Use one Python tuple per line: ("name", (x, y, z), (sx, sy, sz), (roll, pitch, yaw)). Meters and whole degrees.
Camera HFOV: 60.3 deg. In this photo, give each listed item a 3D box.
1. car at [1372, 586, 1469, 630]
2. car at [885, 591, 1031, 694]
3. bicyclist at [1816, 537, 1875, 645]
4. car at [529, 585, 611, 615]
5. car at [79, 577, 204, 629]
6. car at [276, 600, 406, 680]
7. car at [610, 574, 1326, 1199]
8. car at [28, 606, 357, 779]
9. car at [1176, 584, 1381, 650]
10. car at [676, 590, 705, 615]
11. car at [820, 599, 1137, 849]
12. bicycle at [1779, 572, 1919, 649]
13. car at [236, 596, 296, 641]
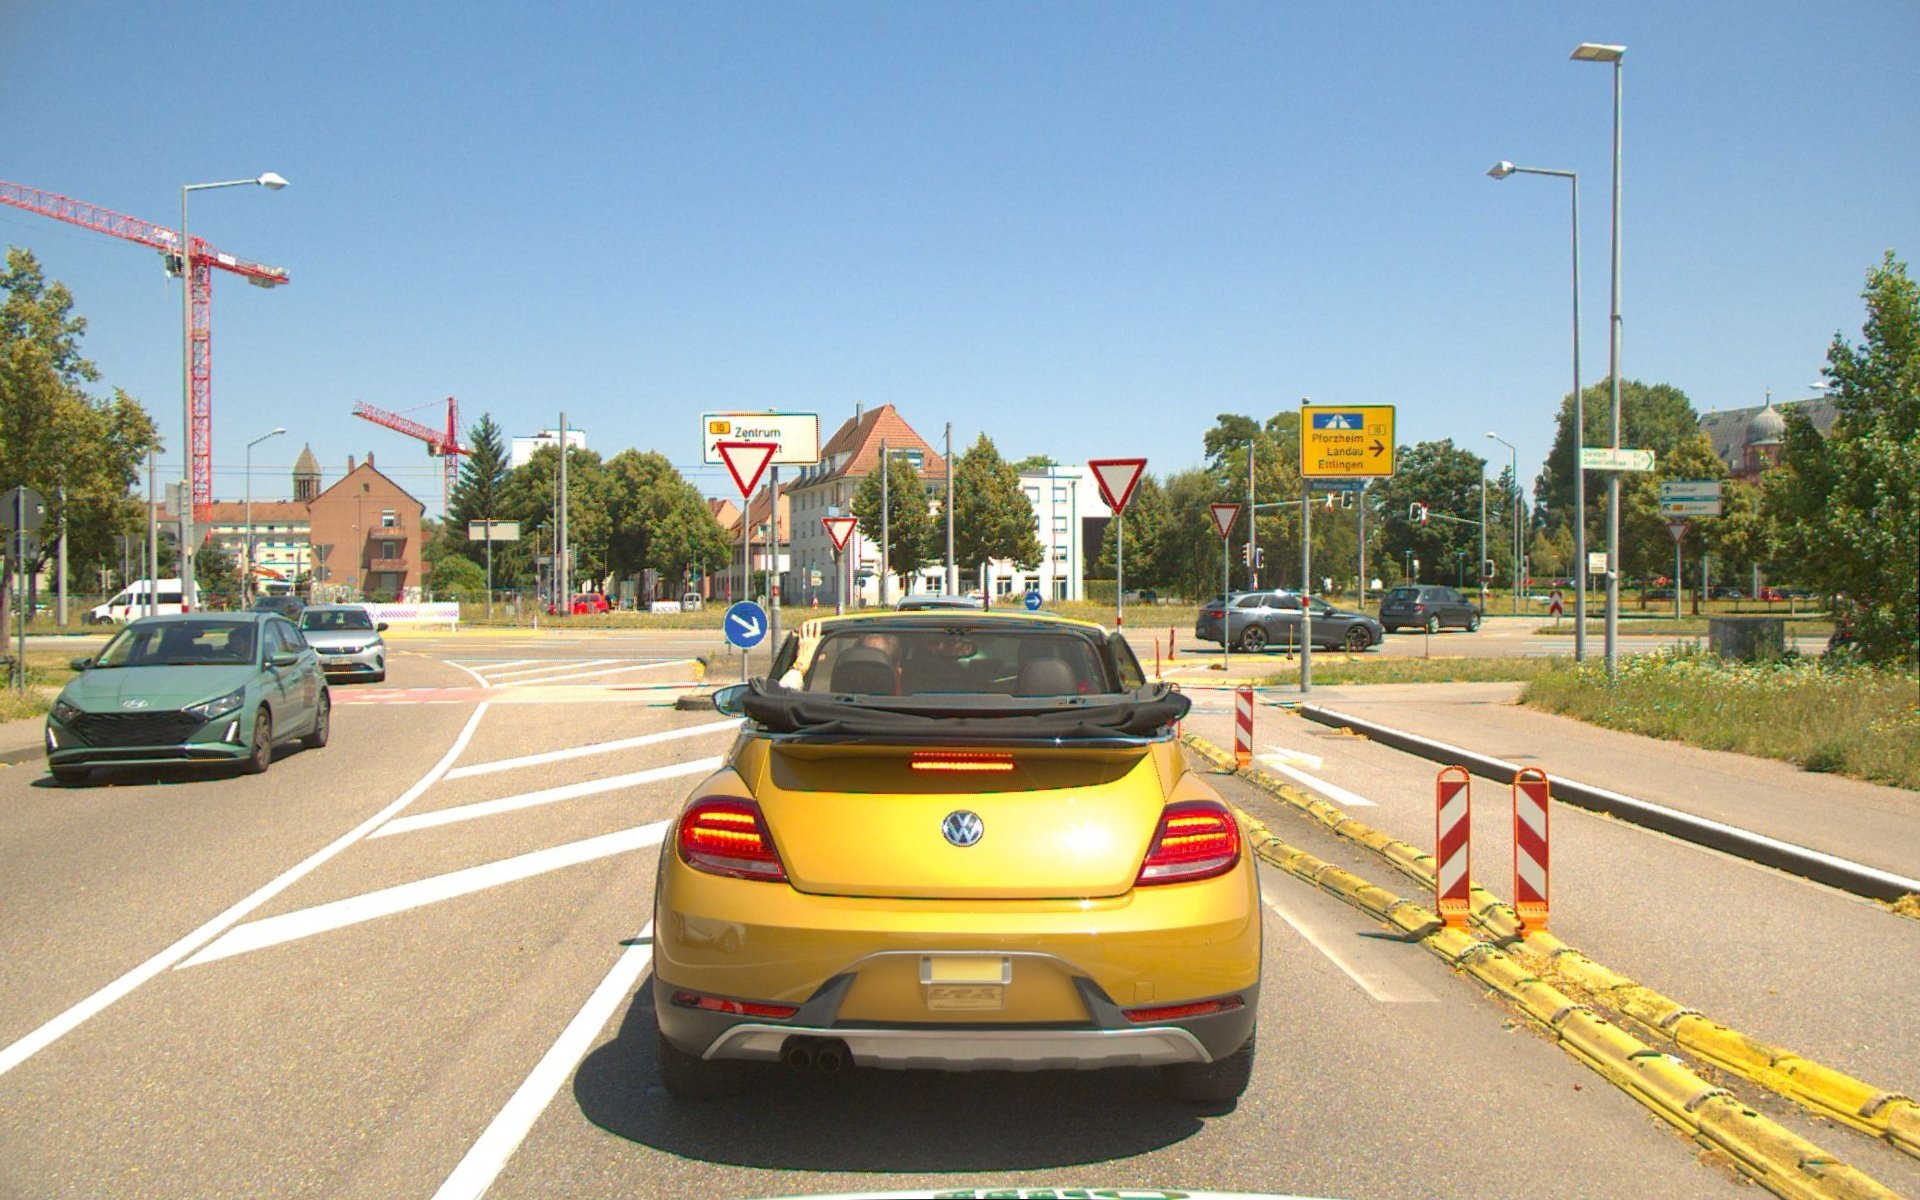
("car", (14.177, 0.257, 50.841), (3.190, 1.281, 1.417), (1, 0, -42))
("car", (-0.057, 0.605, 25.253), (2.023, 1.406, 4.257), (1, 0, -1))
("bicyclist", (14.850, -0.160, 27.736), (0.656, 1.783, 0.592), (-1, 1, 1))
("car", (-22.545, 0.006, 95.686), (4.306, 1.683, 1.873), (1, 0, -41))
("car", (-40.024, 0.163, 80.997), (5.232, 2.439, 1.983), (1, 0, -20))
("car", (-12.182, 0.742, 32.409), (1.709, 1.427, 4.228), (1, 0, -30))
("car", (-0.006, 0.715, 6.171), (1.729, 1.507, 4.257), (1, 0, -1))
("car", (-7.271, 0.780, 16.152), (1.714, 1.395, 4.323), (-1, 0, -8))
("car", (7.675, 0.385, 40.015), (4.450, 1.507, 2.065), (-1, 0, -13))
("car", (-23.139, 0.203, 141.863), (1.955, 2.107, 5.307), (1, 0, -15))
("car", (0.077, 0.709, 11.656), (1.814, 1.389, 4.257), (-1, 0, -1))
("bicycle", (14.941, 0.171, 27.757), (2.048, 1.242, 0.634), (-1, 0, 1))
("car", (-28.045, 0.739, 66.958), (1.721, 1.736, 3.982), (1, 0, -16))
